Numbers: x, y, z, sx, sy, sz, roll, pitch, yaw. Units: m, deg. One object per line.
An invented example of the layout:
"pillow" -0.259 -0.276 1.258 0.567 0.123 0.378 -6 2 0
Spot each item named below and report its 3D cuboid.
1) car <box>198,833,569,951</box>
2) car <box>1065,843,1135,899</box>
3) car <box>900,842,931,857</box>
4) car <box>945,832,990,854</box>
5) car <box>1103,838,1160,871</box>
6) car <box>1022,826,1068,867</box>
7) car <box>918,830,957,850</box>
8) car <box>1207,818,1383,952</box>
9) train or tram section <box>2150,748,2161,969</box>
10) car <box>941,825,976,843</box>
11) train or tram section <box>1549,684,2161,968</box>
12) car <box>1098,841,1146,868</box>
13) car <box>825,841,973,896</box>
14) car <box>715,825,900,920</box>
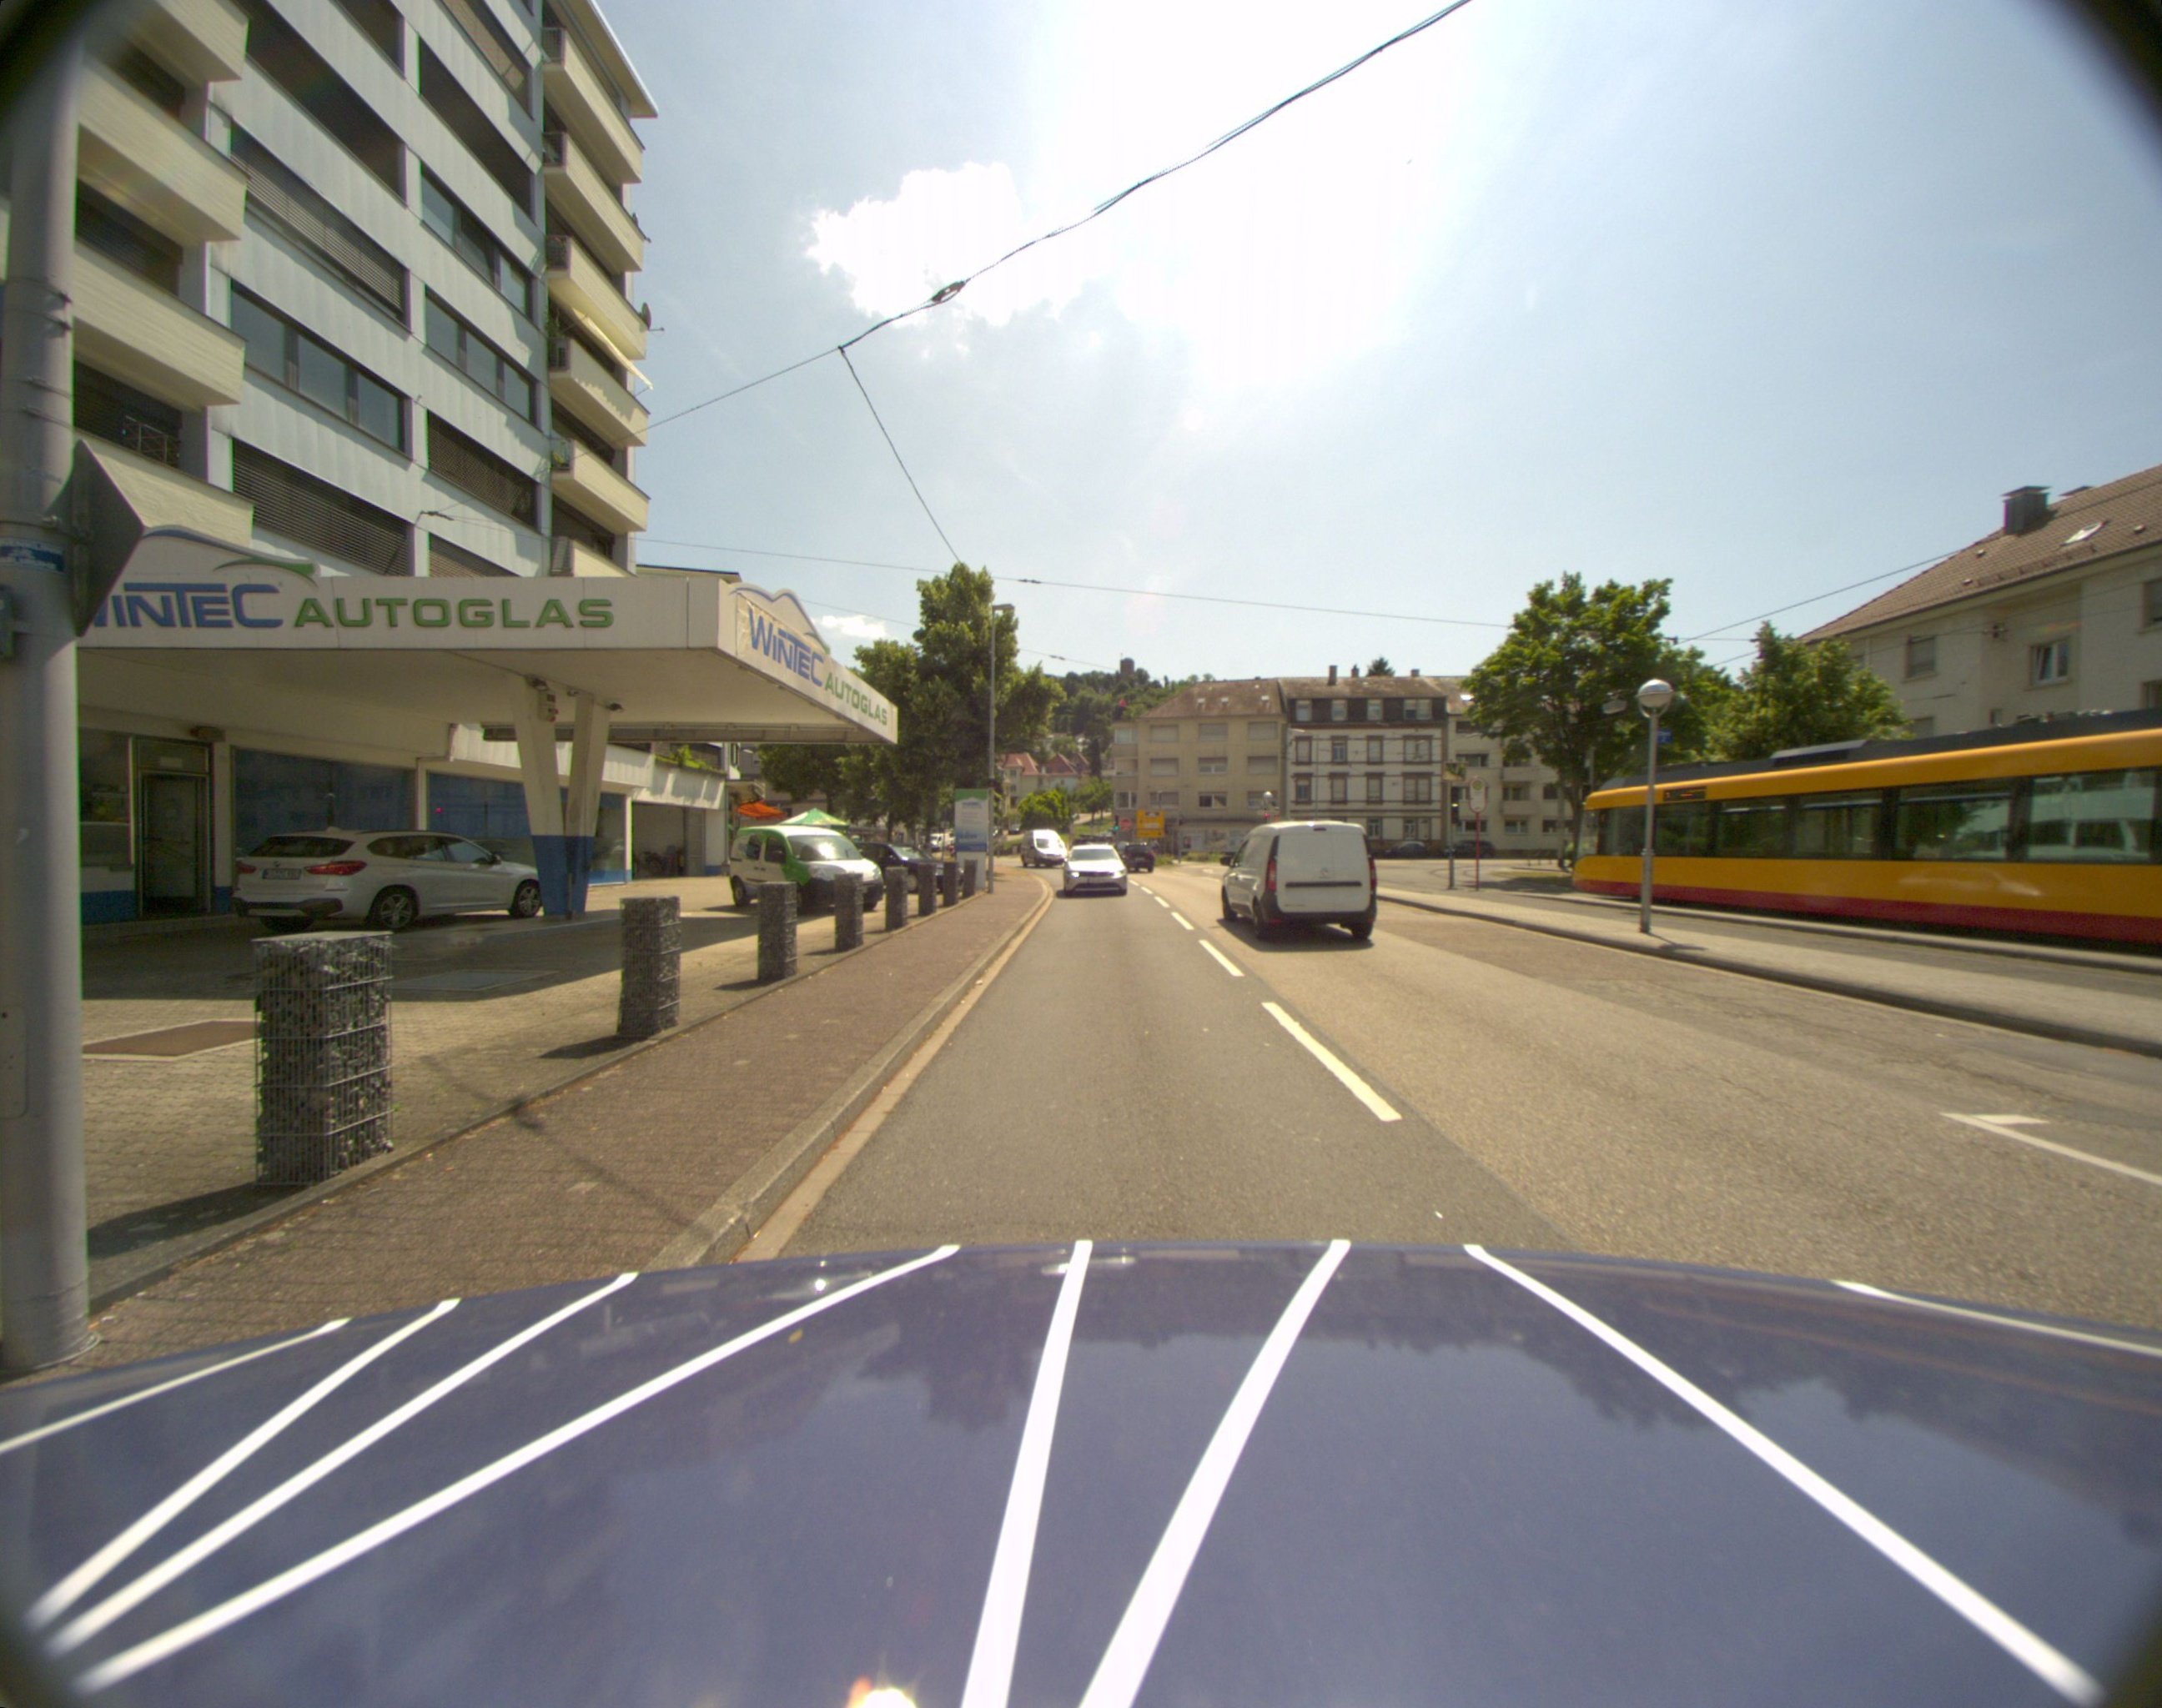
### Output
"car" -11.191 0.478 12.814 1.750 1.617 4.705 0 1 3
"car" 0.451 0.410 21.997 1.818 1.371 4.390 -1 2 -1
"car" -17.577 -0.507 80.789 1.529 1.362 4.159 -2 2 13
"car" -11.649 -1.212 78.773 2.398 2.002 6.377 -2 2 13
"car" 2.477 -0.021 38.559 1.842 1.482 4.806 -1 2 -9
"car" -2.209 -0.505 45.423 2.000 2.259 5.438 -2 2 -10
"car" -16.273 -1.629 86.472 2.398 2.002 5.384 -2 2 13
"car" 3.415 0.362 13.094 1.708 1.840 4.711 -2 2 1
"train or tram section" 14.642 -0.272 7.086 2.970 3.475 4.416 0 1 1
"car" -14.918 -2.474 92.971 2.398 2.002 5.384 -2 2 13
"train or tram section" 14.890 -0.517 15.578 2.970 3.475 12.711 -2 1 2
"car" 2.439 -0.009 45.928 1.842 1.482 4.122 -3 2 -12
"car" -5.283 0.360 21.980 3.962 1.421 1.703 2 2 25
"car" -6.019 0.334 16.477 4.277 1.780 1.826 0 3 41
